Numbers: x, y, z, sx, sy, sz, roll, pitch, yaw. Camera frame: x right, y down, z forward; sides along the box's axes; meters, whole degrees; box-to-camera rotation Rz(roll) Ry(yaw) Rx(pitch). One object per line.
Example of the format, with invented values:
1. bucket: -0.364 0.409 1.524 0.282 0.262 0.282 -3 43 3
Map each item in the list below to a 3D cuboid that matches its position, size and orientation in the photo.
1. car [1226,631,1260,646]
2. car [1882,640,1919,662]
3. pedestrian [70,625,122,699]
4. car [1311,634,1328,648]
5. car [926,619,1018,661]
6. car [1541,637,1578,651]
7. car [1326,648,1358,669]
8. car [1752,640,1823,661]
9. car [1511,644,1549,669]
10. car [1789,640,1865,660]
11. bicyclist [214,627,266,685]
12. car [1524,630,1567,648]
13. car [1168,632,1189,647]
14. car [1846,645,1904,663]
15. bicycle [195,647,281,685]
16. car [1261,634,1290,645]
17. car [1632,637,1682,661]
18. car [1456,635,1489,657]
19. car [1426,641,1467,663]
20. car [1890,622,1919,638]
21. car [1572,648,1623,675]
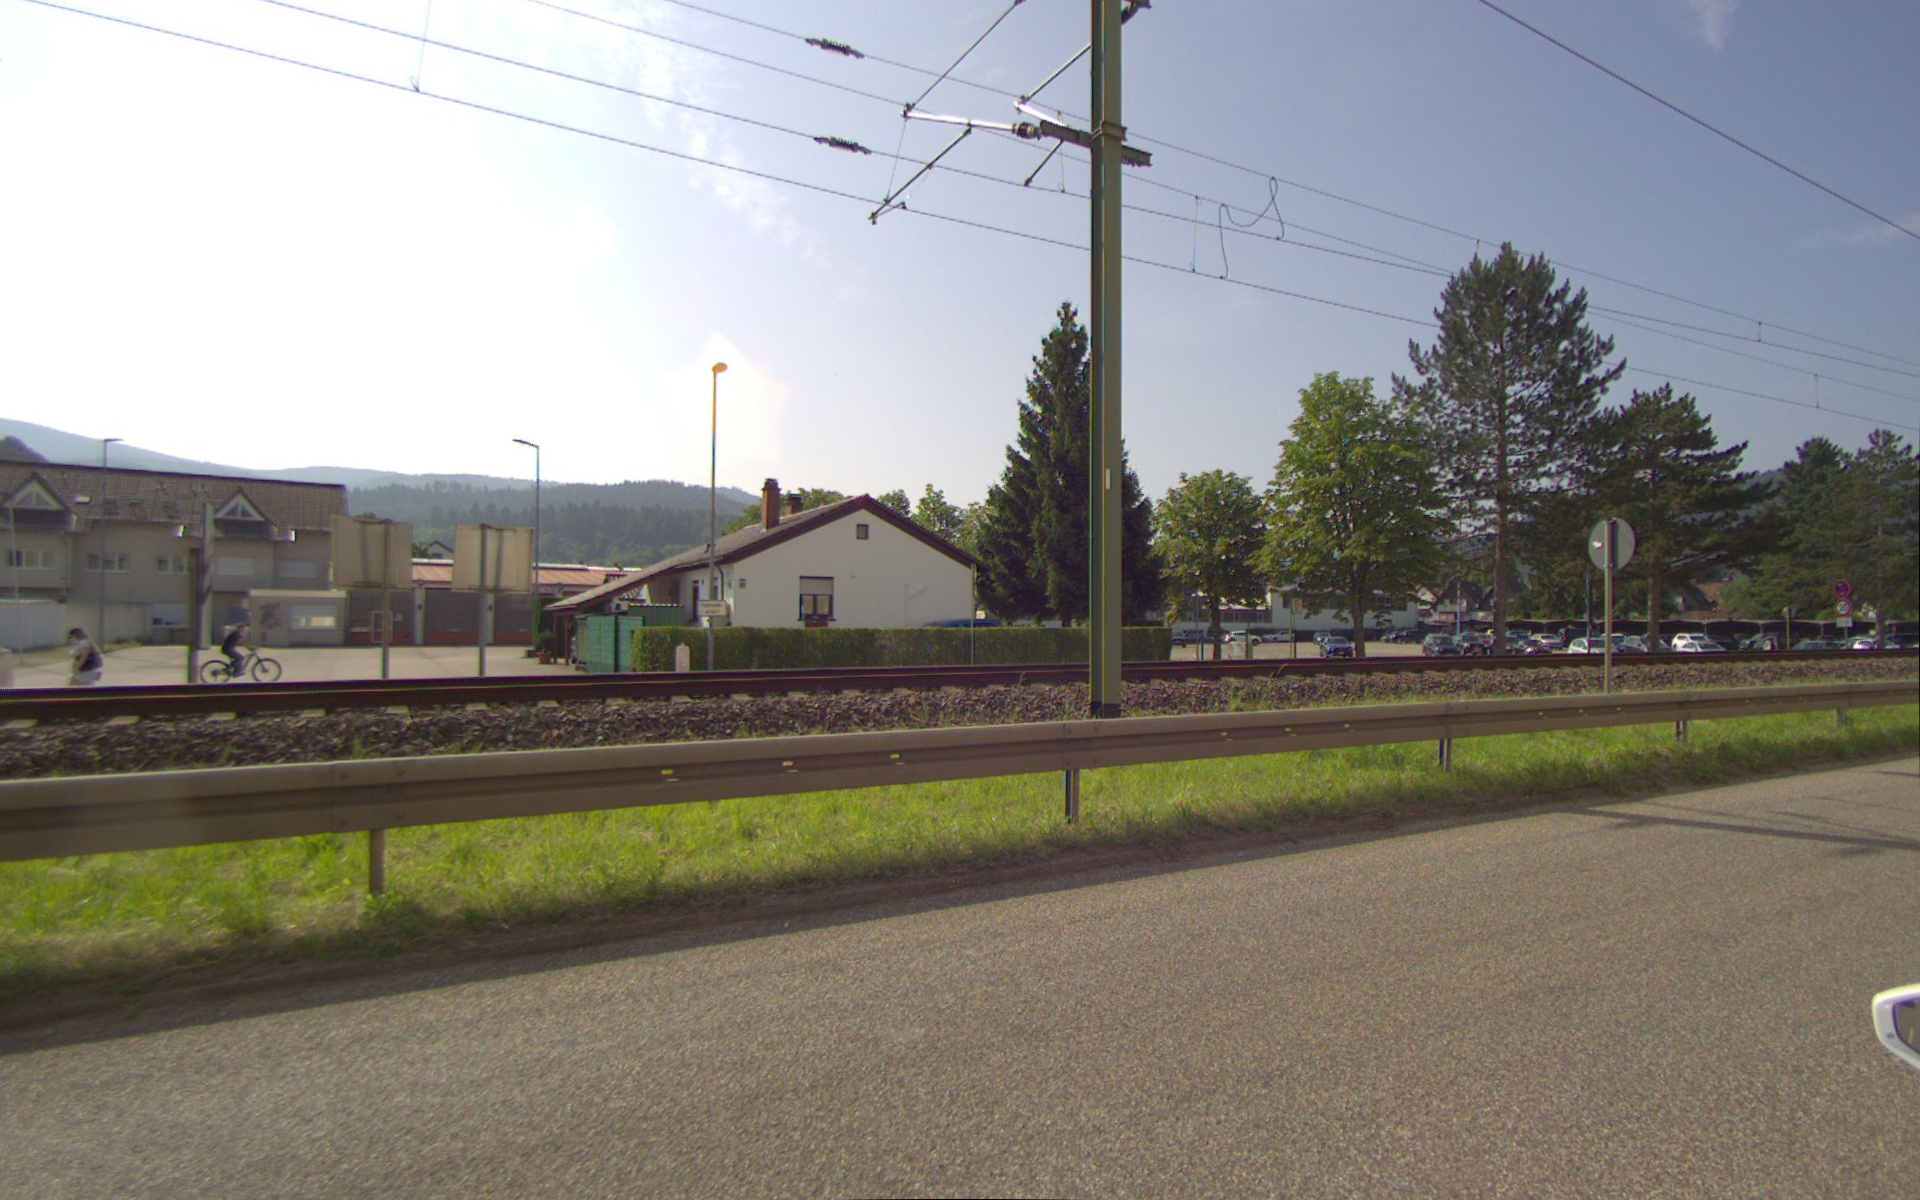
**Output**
1. car: 31.632 4.302 112.369 3.465 1.543 1.568 0 -2 5
2. car: 76.932 4.095 80.641 3.928 1.661 1.997 -1 -2 30
3. pedestrian: -16.041 1.137 18.657 0.668 1.349 0.569 1 -2 -37
4. car: 41.121 4.666 114.888 1.535 1.543 3.539 0 -2 15
5. car: 0.411 1.358 34.242 2.864 1.370 1.383 2 -2 -33
6. car: 61.171 4.506 102.567 1.430 1.342 3.533 0 -2 -7
7. car: 26.920 4.126 70.897 1.654 1.350 3.855 0 -2 14
8. car: 57.095 3.493 69.353 3.450 1.375 1.520 0 -2 16
9. car: 40.898 4.052 72.146 1.654 1.664 3.854 0 -2 18
10. car: 61.122 3.509 70.874 3.779 1.342 1.566 0 -2 10
11. bicyclist: -20.914 1.604 29.204 1.132 1.641 0.742 1 -2 -29
12. car: 56.322 3.763 96.692 1.960 1.661 4.002 0 -2 5
13. car: 22.654 4.050 104.015 1.537 1.543 3.536 0 -2 23
14. car: 70.640 4.138 77.614 1.428 1.342 3.539 0 -2 4
15. bicycle: -20.936 1.908 29.188 1.938 1.030 0.752 1 -2 -29
16. car: 38.973 4.853 123.913 3.494 1.342 1.446 1 -2 -30
17. car: 46.999 3.267 67.803 1.654 1.526 3.854 0 -2 18
18. car: 40.077 3.556 78.642 1.654 1.664 3.854 0 -2 18
19. car: 32.926 3.509 68.034 1.654 1.425 3.855 0 -2 13
20. car: 91.712 2.873 95.925 1.801 1.557 3.959 1 -1 -36
21. car: 38.452 3.690 60.699 1.654 1.462 3.854 0 -2 18
